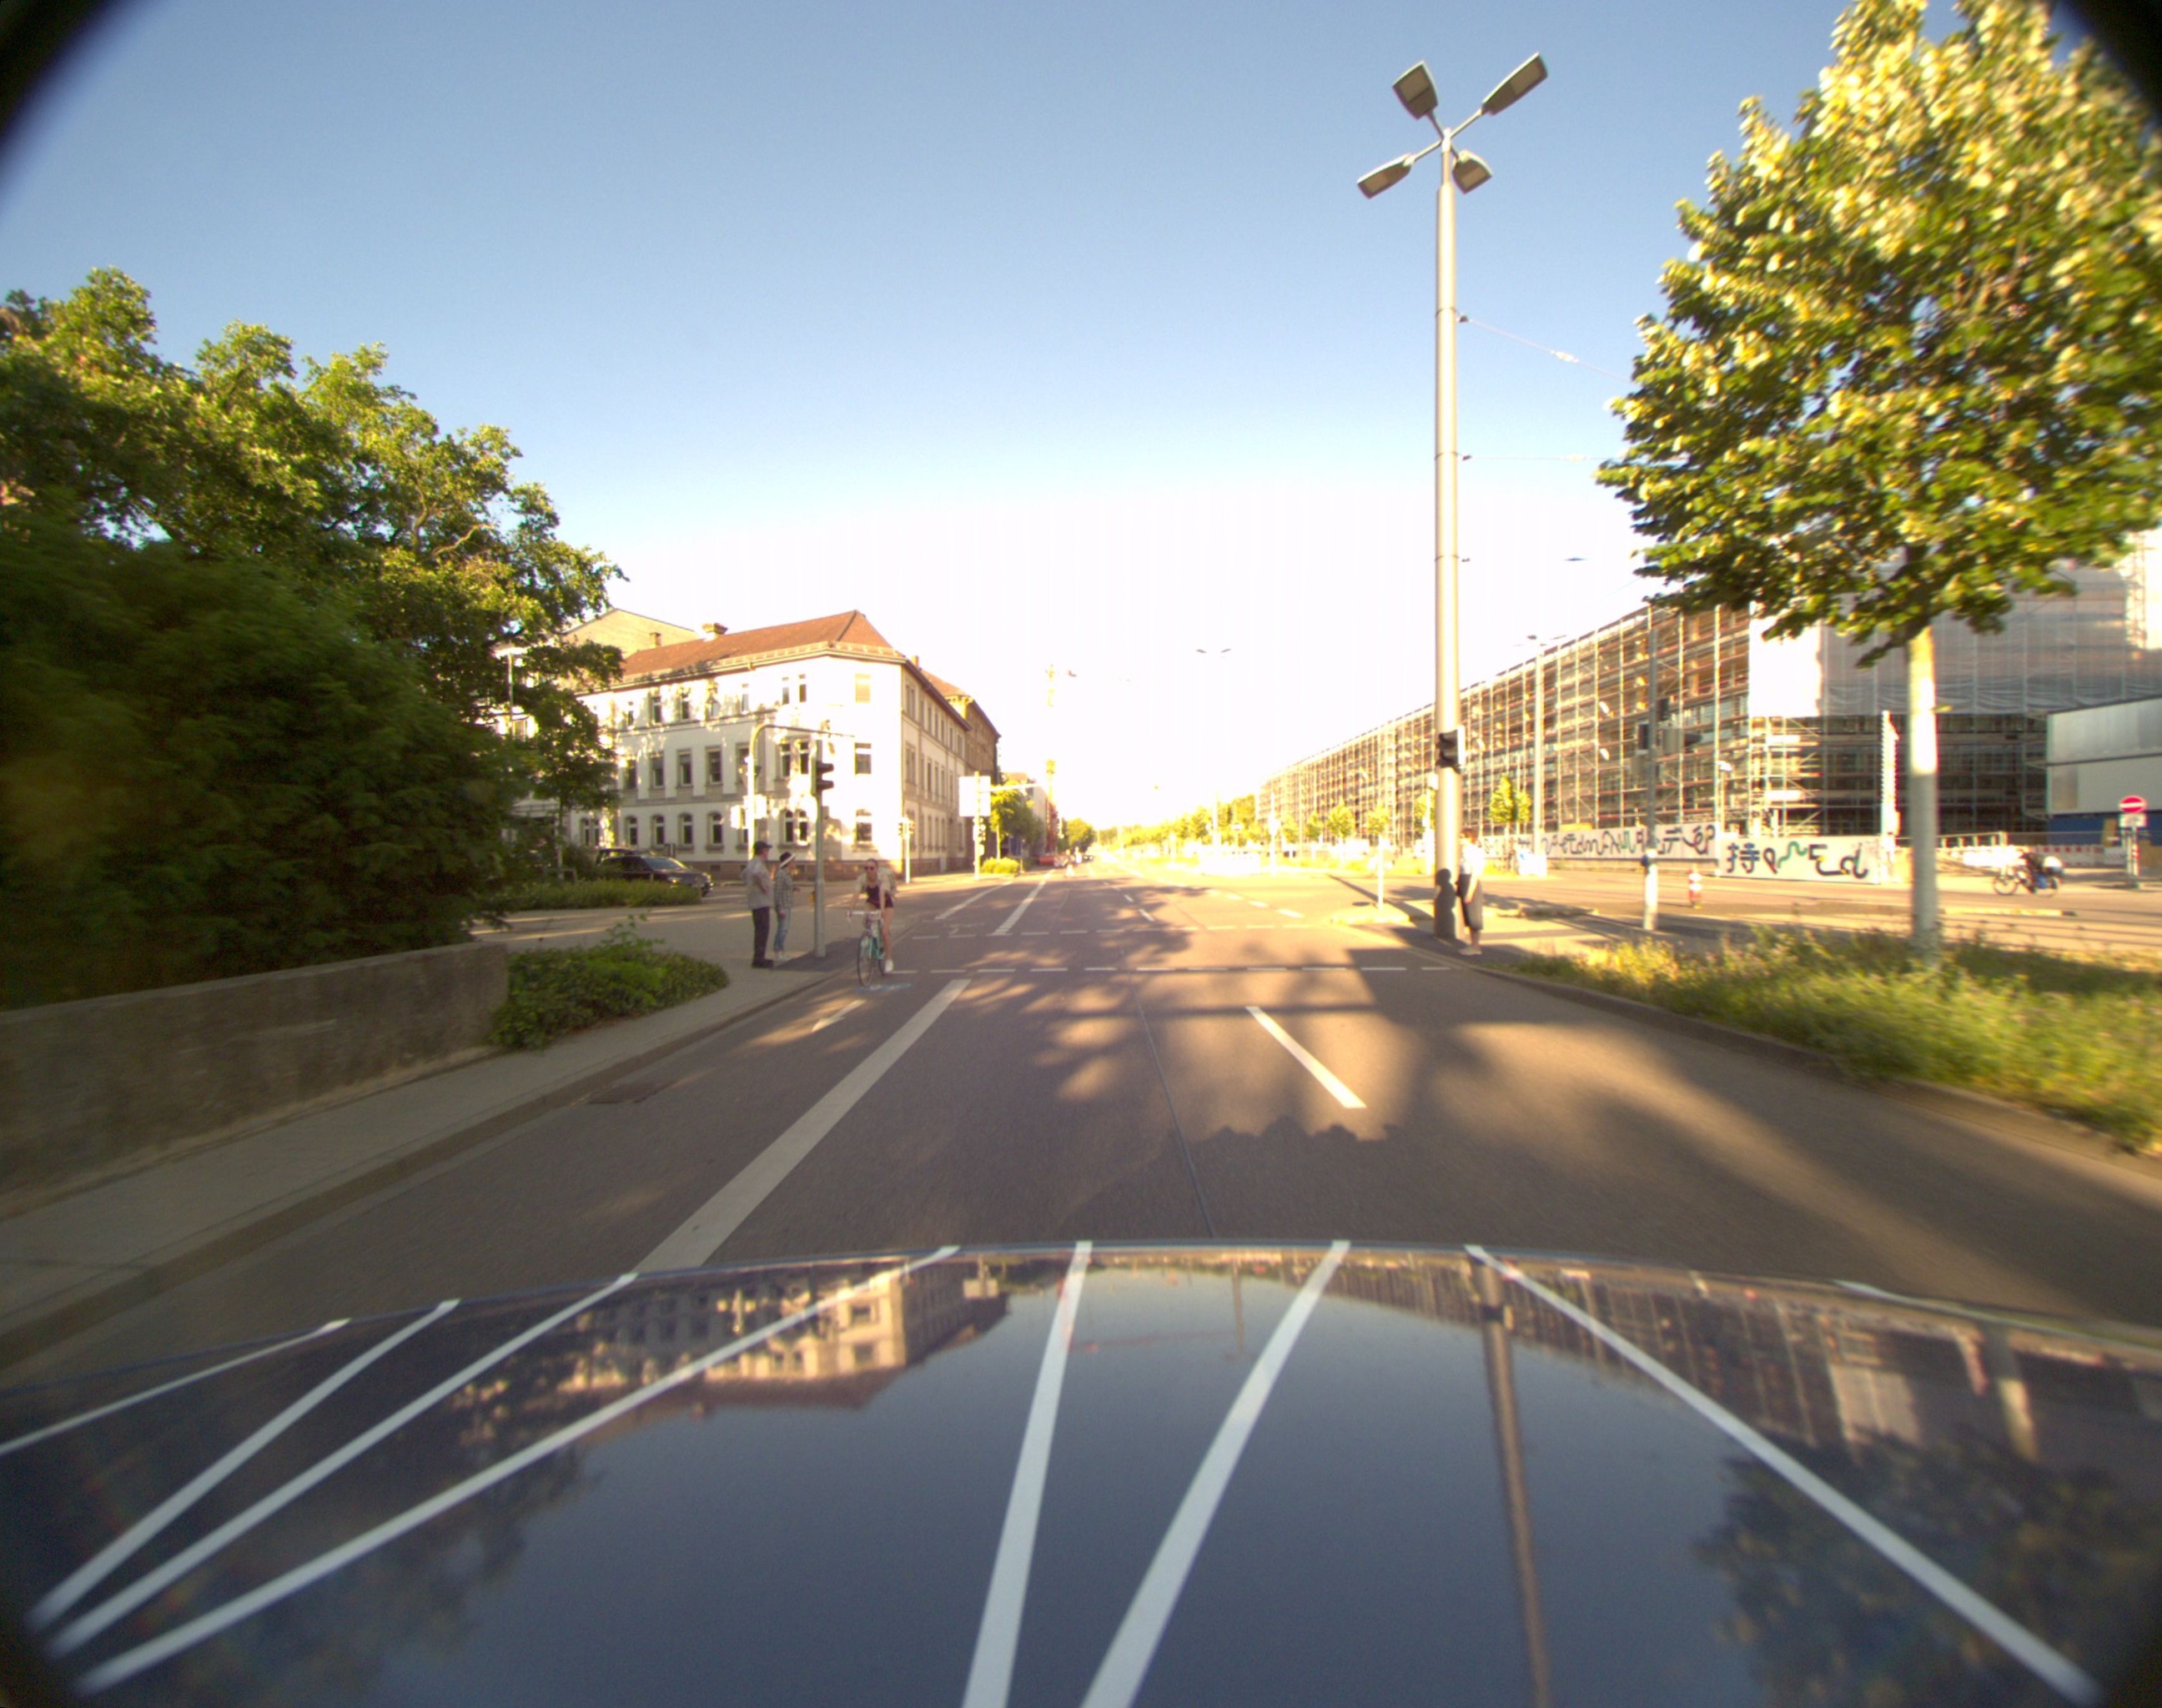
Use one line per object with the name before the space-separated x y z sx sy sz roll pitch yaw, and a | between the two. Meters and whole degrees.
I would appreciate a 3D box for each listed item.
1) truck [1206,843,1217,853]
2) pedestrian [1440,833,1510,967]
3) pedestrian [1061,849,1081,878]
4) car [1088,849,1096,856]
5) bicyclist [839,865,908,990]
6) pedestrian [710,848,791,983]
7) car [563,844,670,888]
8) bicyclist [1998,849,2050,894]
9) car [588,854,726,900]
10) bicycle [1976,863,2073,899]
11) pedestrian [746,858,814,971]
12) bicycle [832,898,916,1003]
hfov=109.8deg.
truck | 34.595 -1.642 201.810 2.143 2.559 4.740 0 0 2
pedestrian | 5.153 0.582 9.978 0.599 1.689 0.714 0 1 6
pedestrian | -0.600 0.559 44.840 0.925 1.639 0.766 0 1 19
car | 2.653 -0.468 184.932 1.999 1.696 3.999 -1 1 0
bicyclist | -2.618 0.892 9.667 0.554 1.482 1.081 0 0 0
pedestrian | -4.666 0.827 10.708 0.861 1.792 0.905 1 1 -34
car | -20.217 0.520 33.087 4.236 1.794 1.953 0 -1 25
bicyclist | 31.002 0.561 24.998 0.626 1.456 0.851 0 1 1
car | -14.933 0.763 26.735 4.590 1.465 1.906 0 1 25
bicycle | 31.004 0.868 25.022 0.626 1.061 2.078 0 1 1
pedestrian | -4.543 0.896 11.510 0.769 1.627 0.769 1 1 -9
bicycle | -2.621 1.181 9.796 0.522 1.091 1.842 -2 1 1
